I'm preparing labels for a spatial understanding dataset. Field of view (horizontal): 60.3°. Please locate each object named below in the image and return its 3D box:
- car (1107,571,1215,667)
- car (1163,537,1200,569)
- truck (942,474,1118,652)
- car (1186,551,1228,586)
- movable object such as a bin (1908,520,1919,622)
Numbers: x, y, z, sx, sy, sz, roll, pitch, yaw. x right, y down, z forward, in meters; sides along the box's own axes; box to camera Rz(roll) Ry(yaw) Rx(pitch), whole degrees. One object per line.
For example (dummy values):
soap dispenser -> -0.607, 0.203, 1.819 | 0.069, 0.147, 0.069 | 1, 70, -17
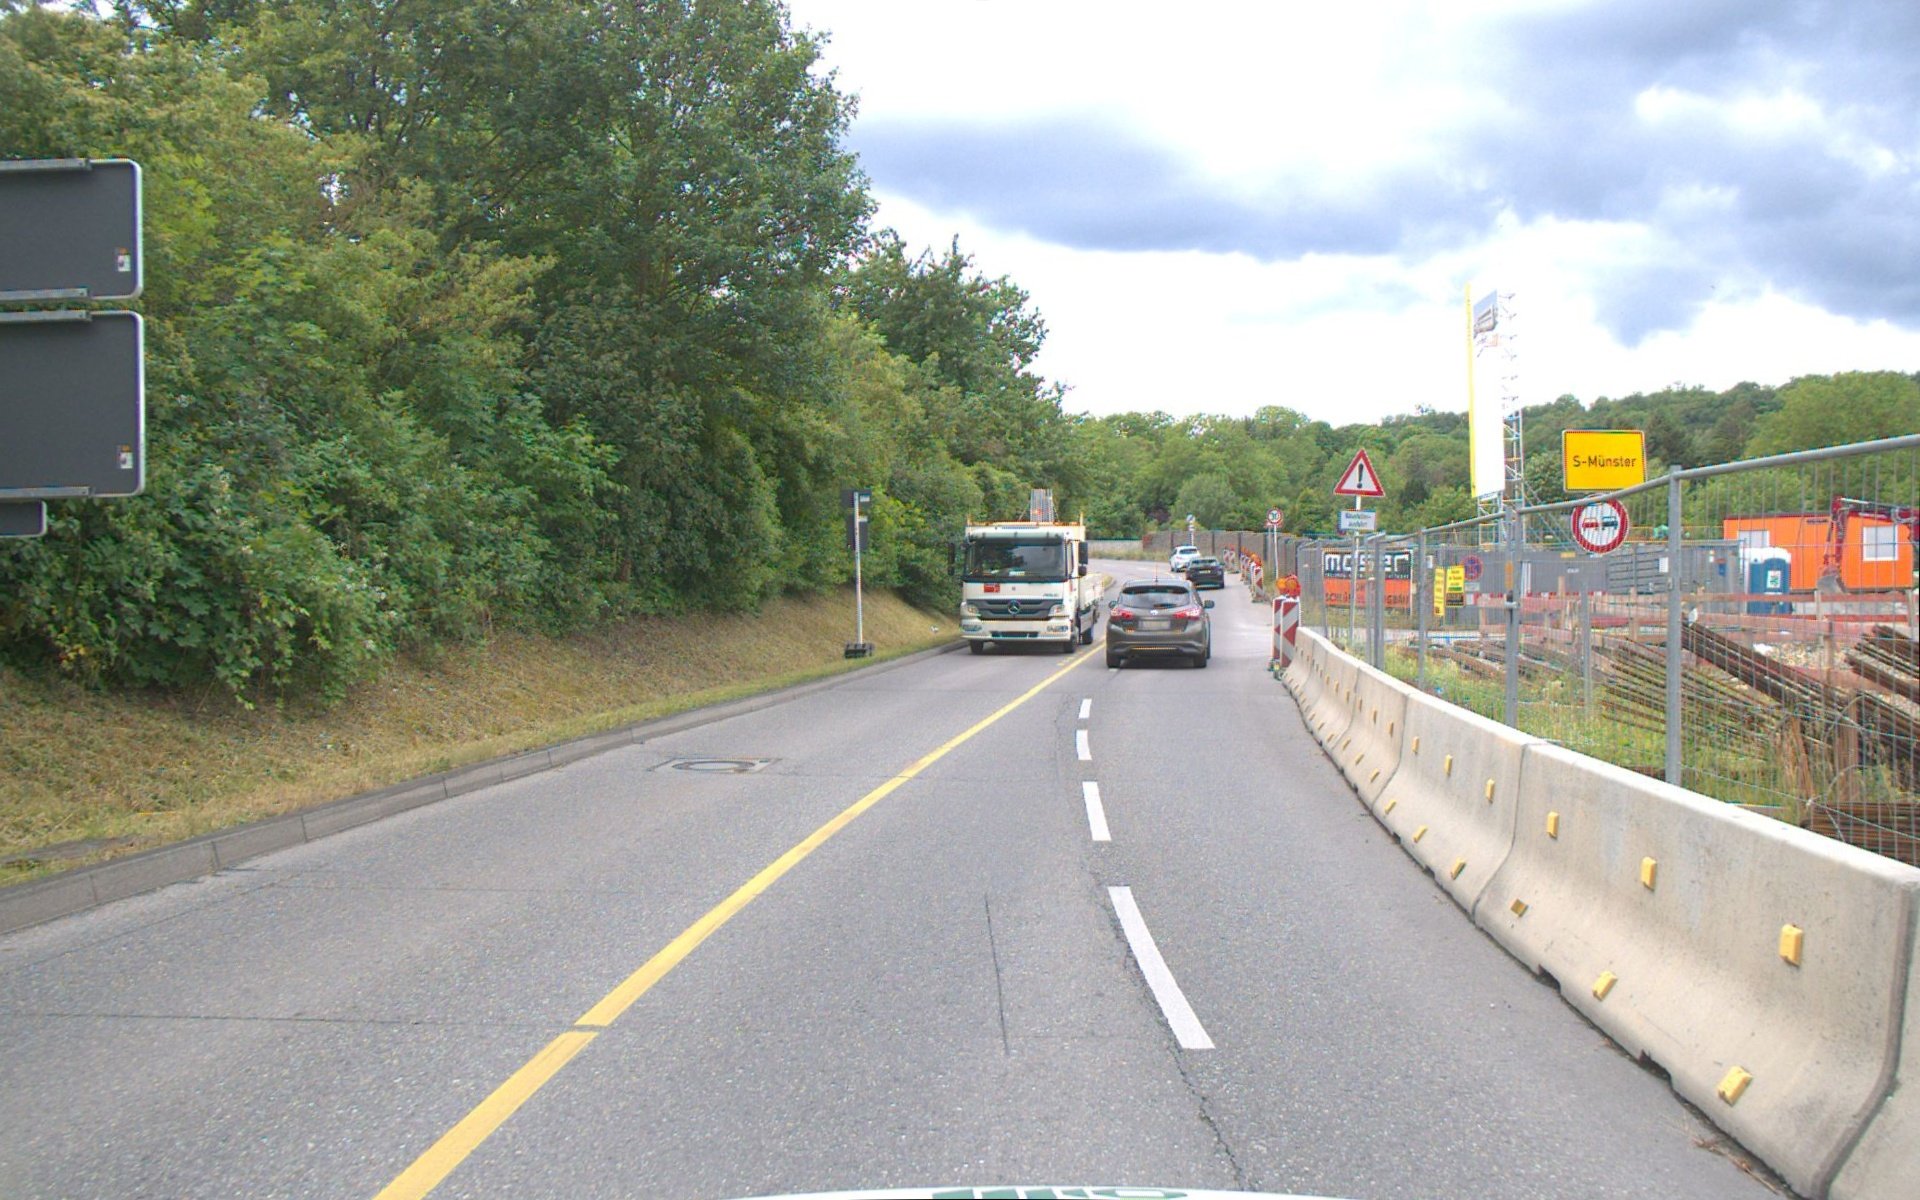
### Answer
car -> 3.711, 0.285, 30.032 | 1.759, 1.579, 4.004 | 1, 1, 10
car -> 13.447, -2.841, 100.552 | 1.677, 1.704, 4.000 | -2, 0, 0
truck -> 1.758, -0.828, 36.567 | 2.759, 3.394, 8.389 | -2, 1, 10
car -> 11.305, -1.415, 75.466 | 1.780, 1.579, 3.792 | 0, 0, 10
movable object such as a bin -> 30.816, -0.937, 50.446 | 2.732, 3.131, 1.842 | -2, -1, 8
